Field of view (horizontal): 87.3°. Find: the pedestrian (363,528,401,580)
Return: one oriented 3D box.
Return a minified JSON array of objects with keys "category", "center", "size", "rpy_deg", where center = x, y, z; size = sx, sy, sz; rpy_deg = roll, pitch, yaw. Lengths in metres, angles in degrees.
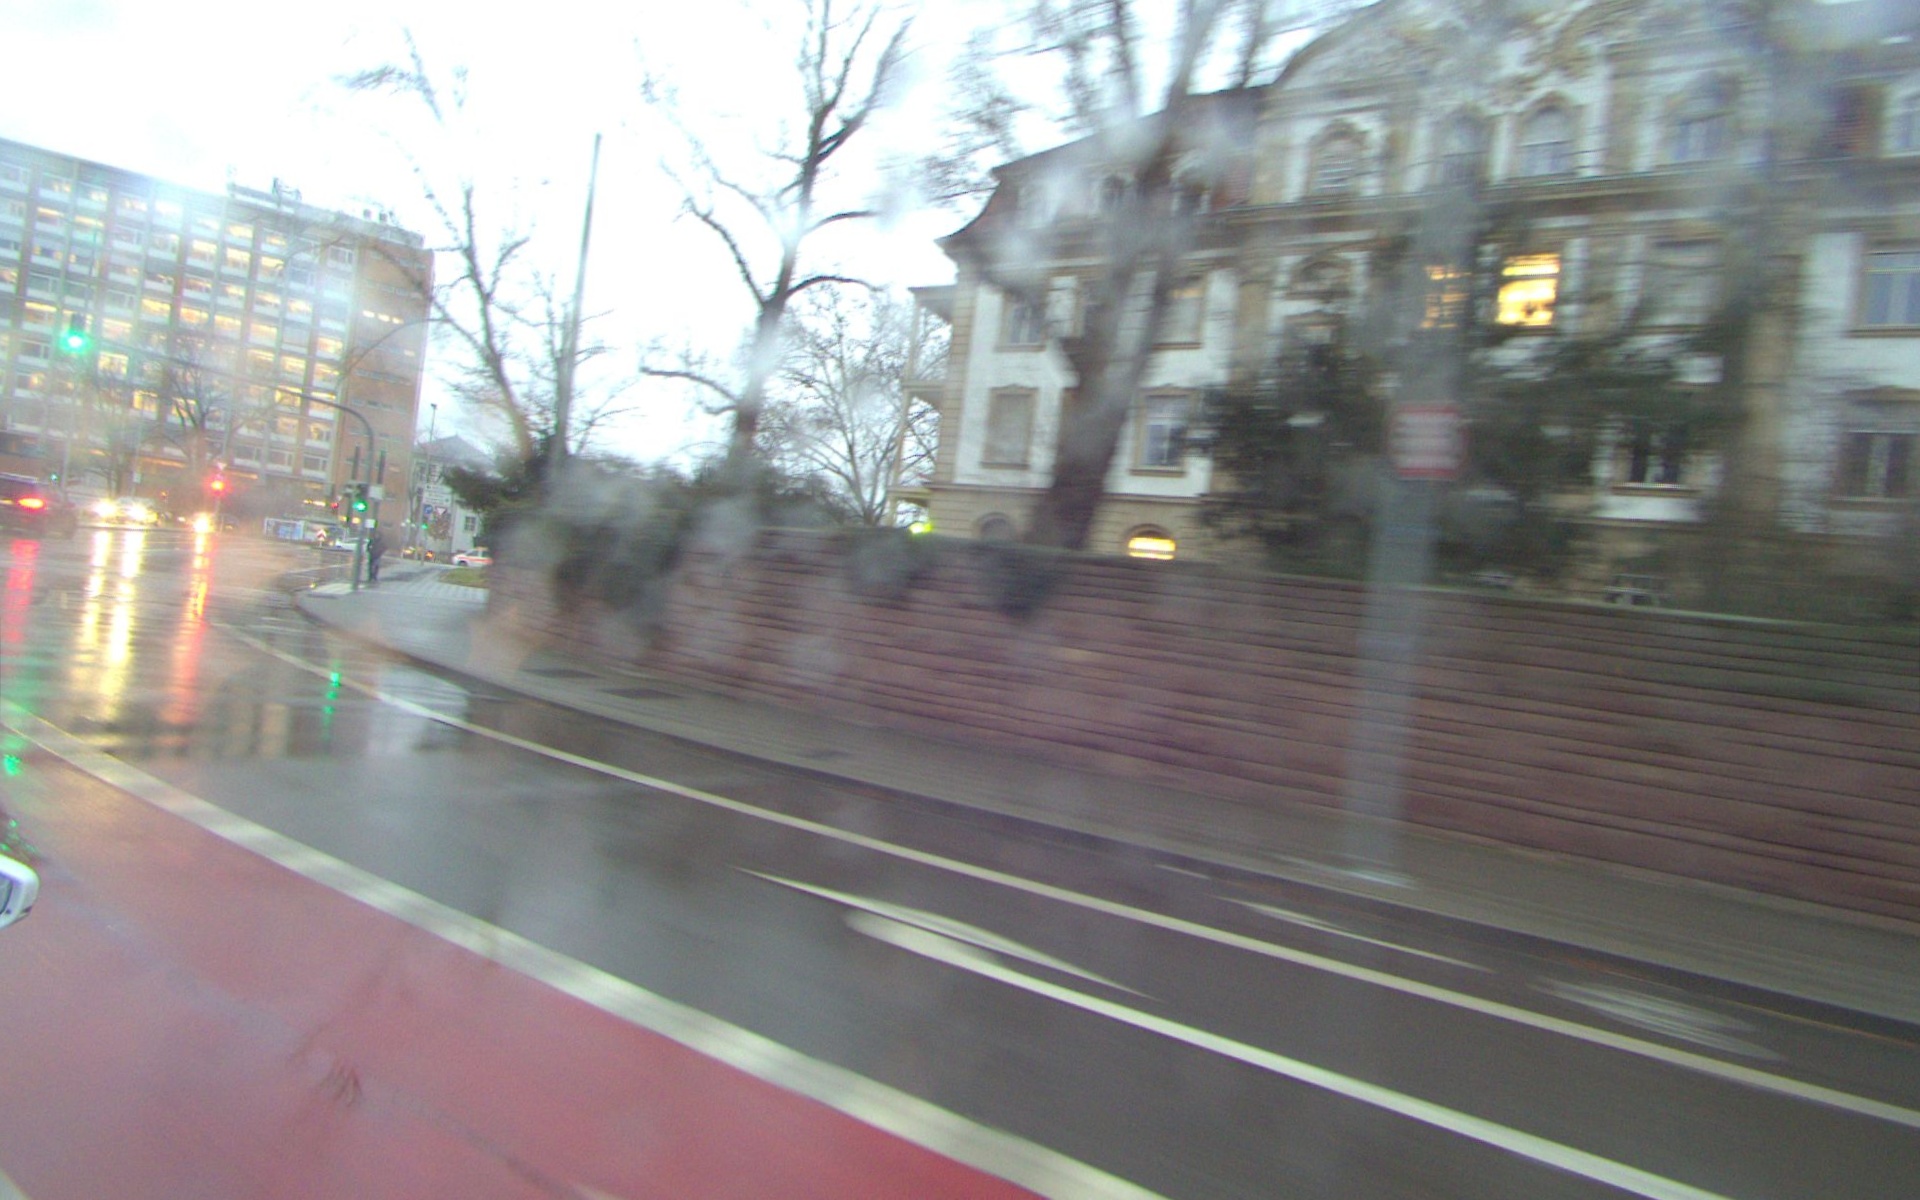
[{"category":"pedestrian","center":[-20.428,-1.615,35.544],"size":[0.802,1.706,1.142],"rpy_deg":[5,2,-43]}]

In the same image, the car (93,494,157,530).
[{"category":"car","center":[-48.154,-5.035,58.120],"size":[1.738,1.683,4.499],"rpy_deg":[6,0,-27]}]

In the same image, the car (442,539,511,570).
[{"category":"car","center":[-43.215,-4.049,90.025],"size":[5.088,1.935,1.996],"rpy_deg":[9,-1,-11]}]

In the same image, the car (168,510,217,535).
[{"category":"car","center":[-52.556,-5.281,68.946],"size":[1.731,1.395,4.337],"rpy_deg":[6,1,-26]}]

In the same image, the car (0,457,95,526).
[{"category":"car","center":[-29.923,-3.504,32.640],"size":[1.633,1.840,3.974],"rpy_deg":[9,-1,-26]}]

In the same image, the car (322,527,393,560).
[{"category":"car","center":[-53.981,-5.033,90.243],"size":[4.872,2.036,1.996],"rpy_deg":[9,-2,-15]}]

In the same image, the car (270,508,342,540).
[{"category":"car","center":[-64.894,-7.487,99.958],"size":[5.491,2.046,1.992],"rpy_deg":[9,-3,-21]}]
